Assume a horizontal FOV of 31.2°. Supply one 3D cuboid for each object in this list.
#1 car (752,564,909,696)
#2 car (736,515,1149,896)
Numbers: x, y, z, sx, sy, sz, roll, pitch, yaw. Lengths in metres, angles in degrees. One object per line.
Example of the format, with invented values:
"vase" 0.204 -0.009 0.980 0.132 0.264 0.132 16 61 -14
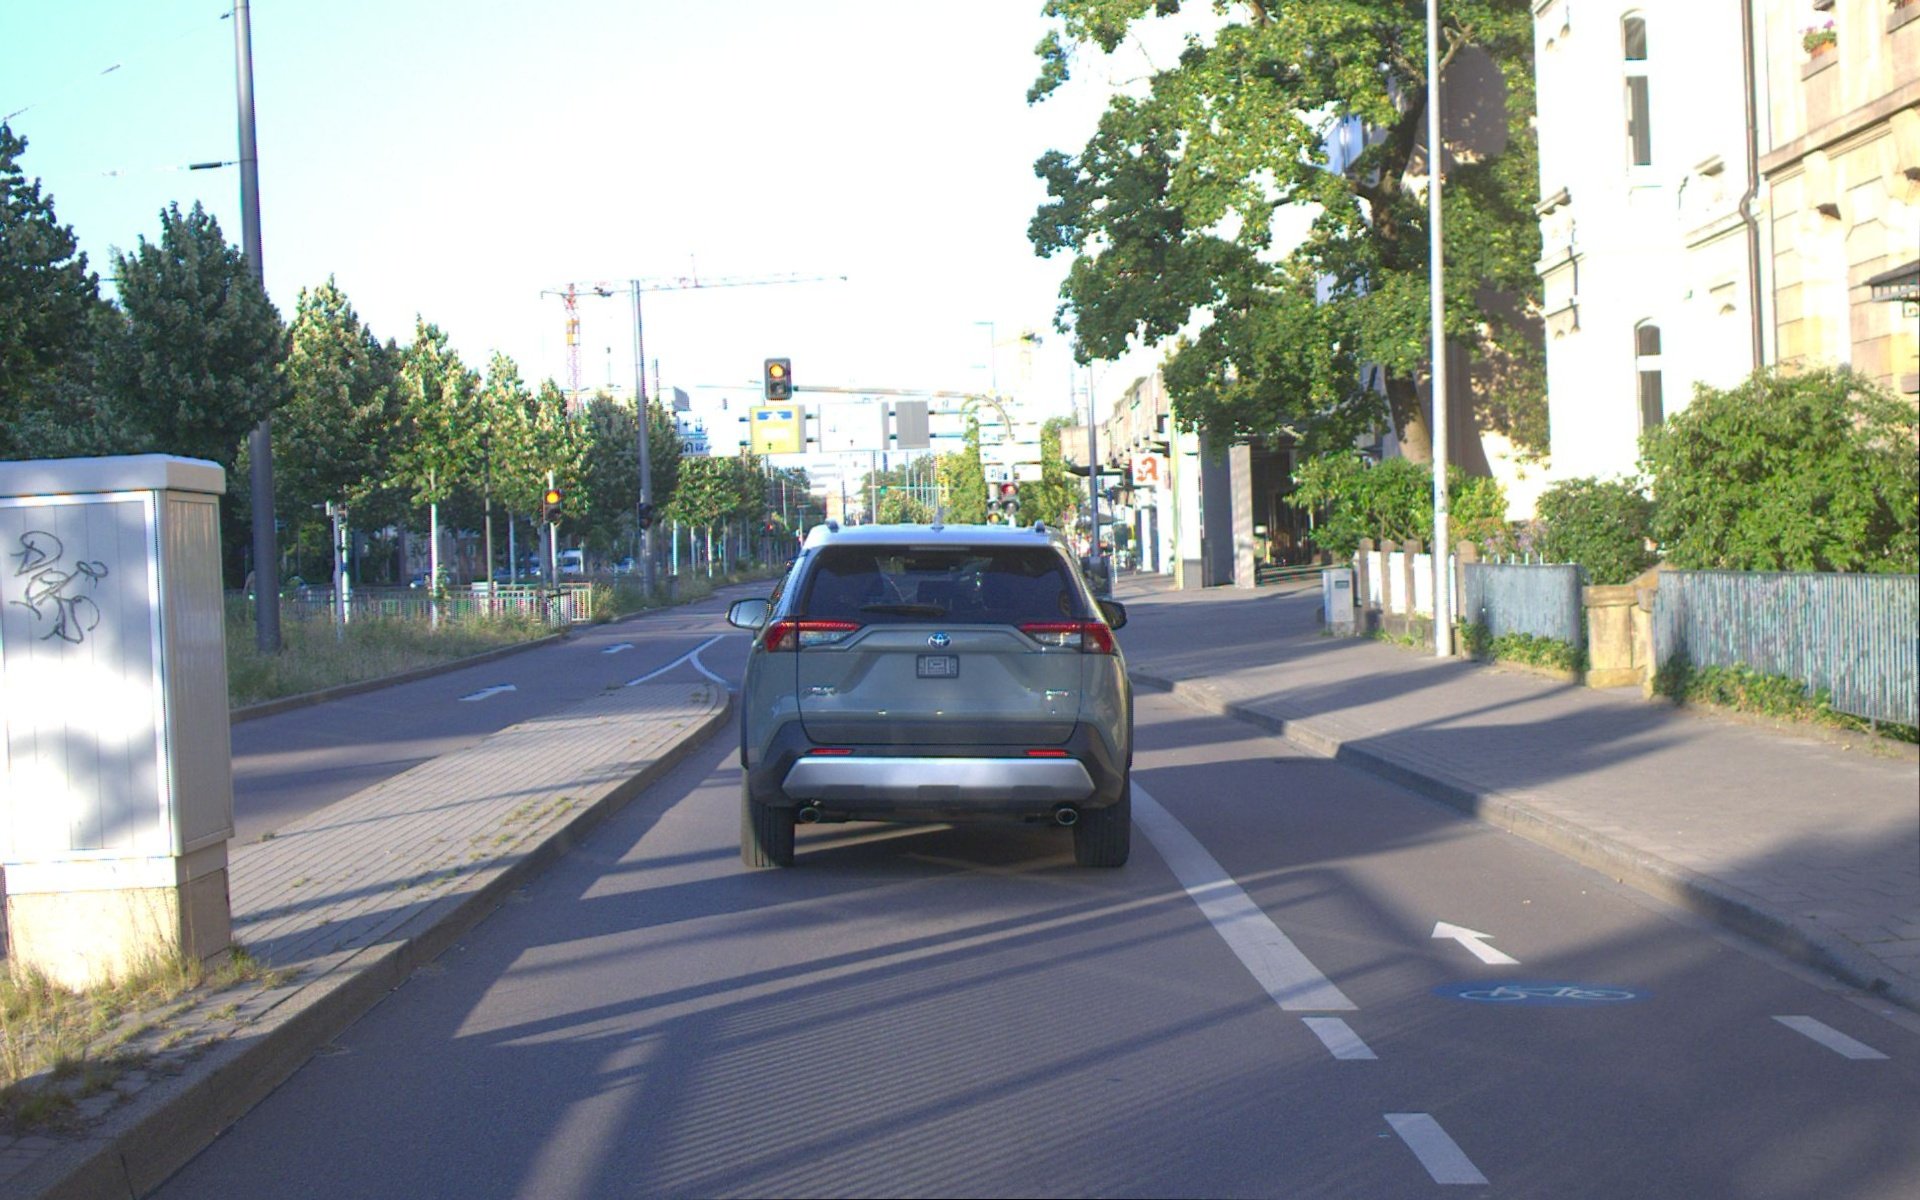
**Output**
"car" -1.612 0.337 42.869 1.857 1.546 4.110 0 1 -2
"car" -0.156 0.445 17.529 1.857 1.708 4.193 0 1 -2
